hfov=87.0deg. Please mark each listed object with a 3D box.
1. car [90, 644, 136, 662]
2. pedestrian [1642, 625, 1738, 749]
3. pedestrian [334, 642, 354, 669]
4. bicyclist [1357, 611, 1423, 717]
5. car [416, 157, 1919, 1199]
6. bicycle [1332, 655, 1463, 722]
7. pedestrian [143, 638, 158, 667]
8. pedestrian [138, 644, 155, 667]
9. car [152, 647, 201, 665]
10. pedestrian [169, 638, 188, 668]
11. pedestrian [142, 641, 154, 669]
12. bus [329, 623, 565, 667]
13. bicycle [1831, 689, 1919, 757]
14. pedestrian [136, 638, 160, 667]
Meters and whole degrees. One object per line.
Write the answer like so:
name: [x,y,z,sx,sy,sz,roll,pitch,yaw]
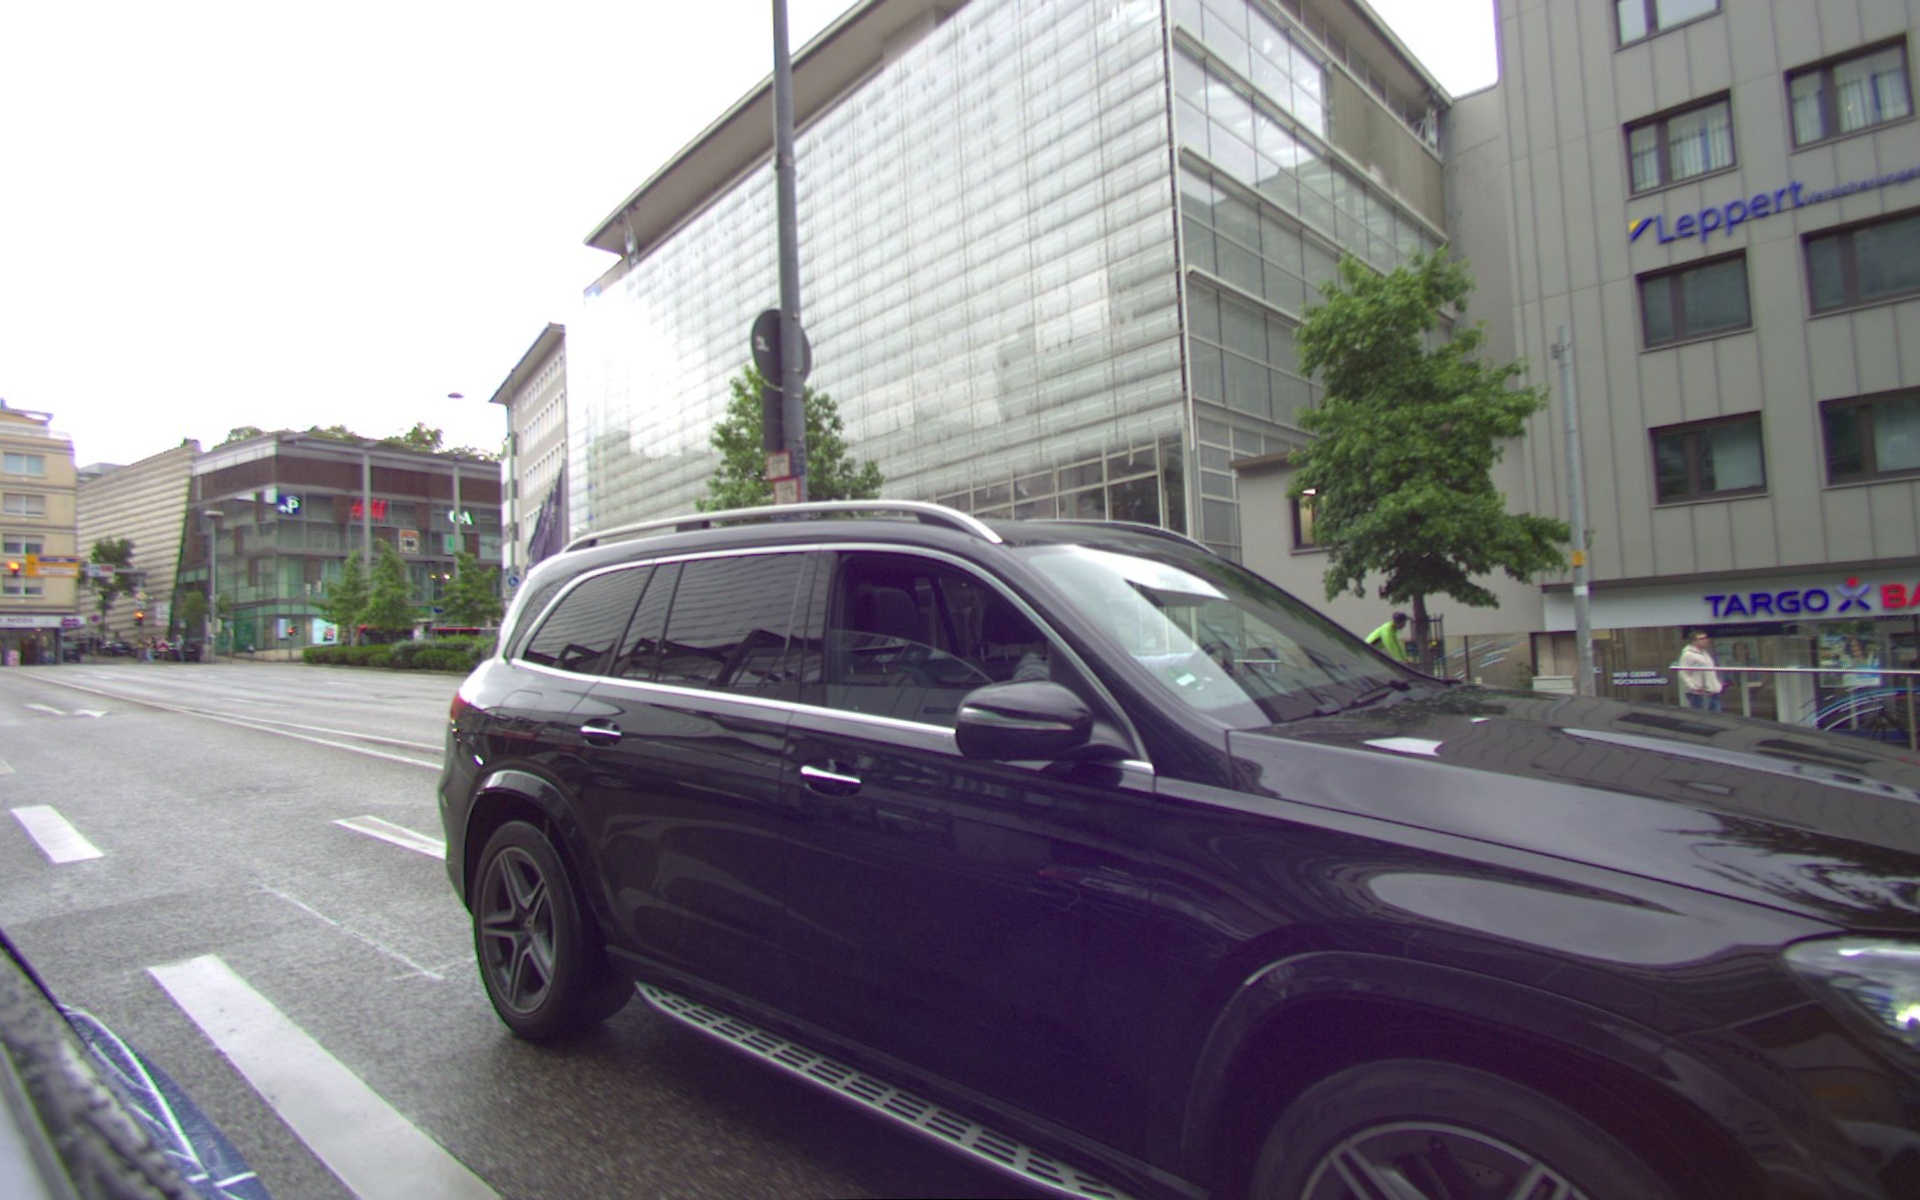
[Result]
car: [-78.818,4.934,94.194,4.362,1.558,1.880,-1,-1,29]
pedestrian: [10.700,1.248,14.829,1.037,1.736,0.983,-3,-4,38]
pedestrian: [-41.870,3.761,68.782,1.022,1.789,0.791,-2,-4,33]
bicyclist: [7.685,1.132,18.098,0.987,1.844,0.663,-1,-3,31]
car: [0.382,0.484,3.089,4.791,1.831,2.065,-3,-1,42]
bicycle: [7.774,1.544,18.025,2.063,1.108,0.673,-1,-3,31]
pedestrian: [-48.466,3.155,60.592,0.629,1.702,0.784,3,-4,-43]
pedestrian: [-49.371,3.370,61.419,0.630,1.350,0.581,-2,-4,33]
car: [-67.867,4.821,87.615,4.278,1.558,1.787,-1,-3,29]
pedestrian: [-46.917,3.165,60.784,0.830,1.792,0.610,-2,-4,33]
pedestrian: [-48.968,3.304,61.022,0.494,1.681,0.571,3,-5,-45]
bus: [-42.788,3.912,85.808,2.927,3.346,18.230,-4,-5,39]
bicycle: [16.602,2.111,17.205,2.669,1.095,0.605,-2,-2,41]
pedestrian: [-50.203,3.254,62.595,1.010,1.801,0.844,-2,-4,32]
